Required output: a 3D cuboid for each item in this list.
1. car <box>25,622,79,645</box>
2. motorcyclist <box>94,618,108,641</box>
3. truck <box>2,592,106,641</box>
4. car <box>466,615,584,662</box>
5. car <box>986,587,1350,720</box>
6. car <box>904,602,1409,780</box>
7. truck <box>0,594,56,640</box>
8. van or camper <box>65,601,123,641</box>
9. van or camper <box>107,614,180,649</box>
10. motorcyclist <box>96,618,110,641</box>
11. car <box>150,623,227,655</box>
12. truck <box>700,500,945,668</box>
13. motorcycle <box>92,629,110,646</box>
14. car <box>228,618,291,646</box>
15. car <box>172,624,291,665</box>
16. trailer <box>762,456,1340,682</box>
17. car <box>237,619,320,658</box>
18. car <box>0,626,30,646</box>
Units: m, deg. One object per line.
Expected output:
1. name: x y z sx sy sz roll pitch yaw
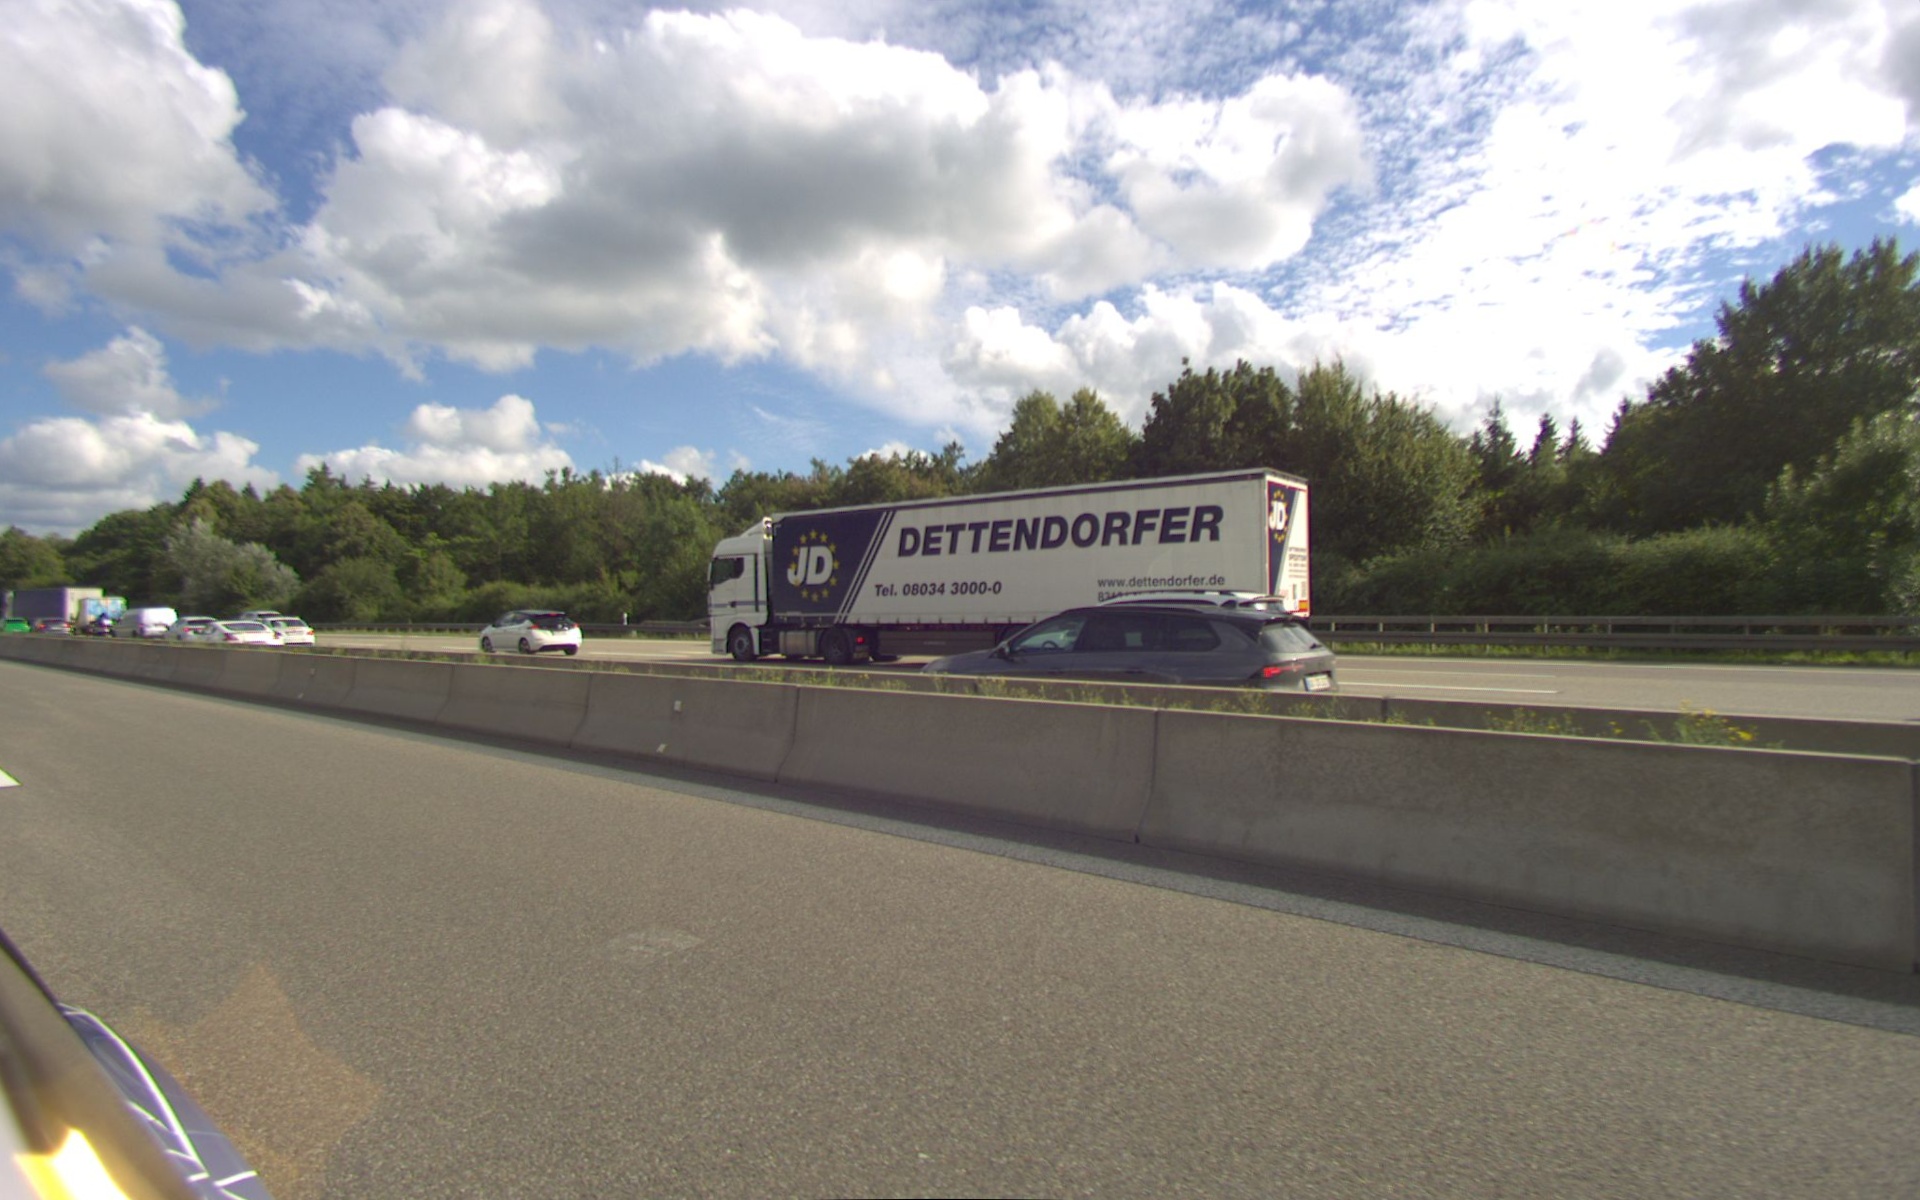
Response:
1. car: -62.307 2.250 69.428 4.782 1.482 2.149 -1 0 40
2. motorcyclist: -56.562 1.953 66.621 0.531 1.487 0.596 -1 0 40
3. truck: -80.892 1.497 90.209 13.789 4.125 2.800 -1 -1 30
4. car: -14.743 1.280 34.178 4.799 1.464 1.792 -1 -1 42
5. car: 2.791 0.684 14.495 4.942 1.606 1.690 -1 -1 42
6. car: 1.782 0.750 10.173 4.617 1.372 1.973 -1 0 41
7. truck: -86.615 1.558 93.586 6.037 4.125 2.800 -1 -1 30
8. van or camper: -65.446 1.574 76.445 6.501 2.913 2.350 -1 -1 40
9. van or camper: -47.021 1.796 58.240 5.447 1.952 1.975 -1 -1 37
10. motorcyclist: -56.096 1.948 66.247 0.531 1.487 0.596 -1 0 40
11. car: -35.981 1.795 47.135 4.685 1.405 1.752 -1 0 38
12. truck: -3.885 -0.341 28.092 6.214 4.138 3.287 -1 -1 37
13. motorcycle: -56.540 2.466 66.616 2.173 1.048 0.603 -1 -1 41
14. car: -44.804 2.019 64.685 4.782 1.696 2.149 -1 0 40
15. car: -23.137 1.383 32.084 4.507 1.170 1.795 -1 -1 37
16. trailer: 1.321 -0.446 24.141 14.130 4.138 3.287 -1 -1 37
17. car: -27.317 1.505 40.494 4.714 1.407 1.663 -1 -1 42
18. car: -73.098 2.737 77.814 4.326 1.482 1.766 -2 -3 39
